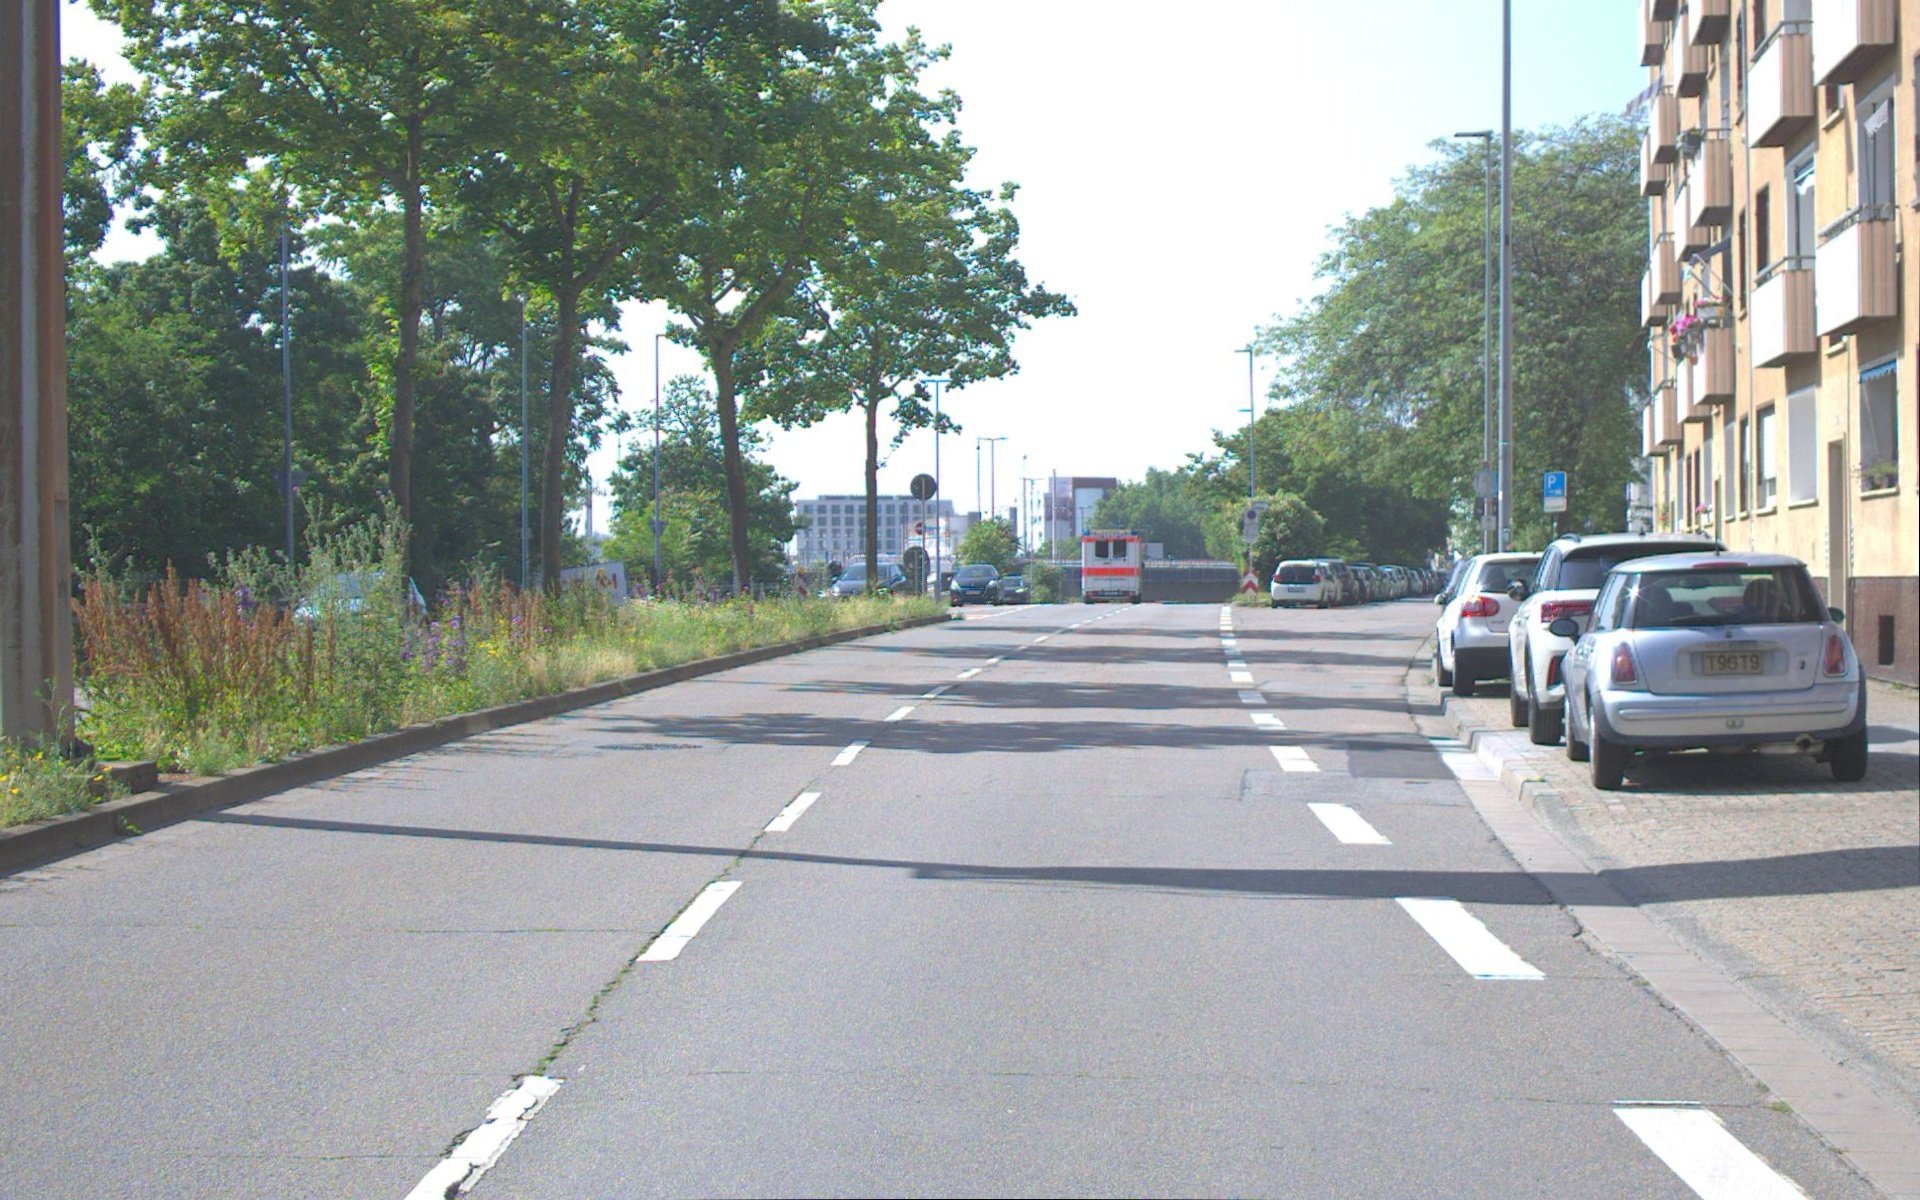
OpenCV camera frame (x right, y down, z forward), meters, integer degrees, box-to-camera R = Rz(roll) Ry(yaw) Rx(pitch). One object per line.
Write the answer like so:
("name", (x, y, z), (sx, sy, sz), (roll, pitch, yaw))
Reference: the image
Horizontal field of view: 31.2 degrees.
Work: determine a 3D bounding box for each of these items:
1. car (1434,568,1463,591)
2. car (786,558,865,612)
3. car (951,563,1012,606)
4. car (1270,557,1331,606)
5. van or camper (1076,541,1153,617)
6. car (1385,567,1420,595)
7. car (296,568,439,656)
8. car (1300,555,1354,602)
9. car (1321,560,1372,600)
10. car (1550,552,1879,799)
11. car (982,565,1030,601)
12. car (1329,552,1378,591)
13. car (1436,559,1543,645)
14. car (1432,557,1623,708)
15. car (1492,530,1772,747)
("car", (36.040, -1.514, 253.602), (1.994, 1.651, 3.998), (0, 0, 9))
("car", (-3.884, -0.451, 99.651), (1.798, 1.525, 3.999), (0, 0, 5))
("car", (0.783, -0.557, 121.822), (1.764, 1.469, 4.084), (-1, 0, 6))
("car", (10.720, -0.602, 108.120), (1.620, 1.500, 3.460), (-1, 0, 10))
("van or camper", (5.805, -0.774, 128.630), (2.297, 2.780, 5.569), (0, 0, 9))
("car", (24.698, -1.080, 191.752), (1.664, 1.504, 4.006), (2, 1, 10))
("car", (-10.492, 0.181, 61.104), (1.645, 1.411, 3.970), (-3, 1, 2))
("car", (12.612, -0.744, 118.074), (1.772, 1.574, 4.185), (-1, 0, 7))
("car", (15.035, -0.789, 133.557), (1.664, 1.468, 3.788), (2, 1, 10))
("car", (4.779, 0.430, 22.169), (1.678, 1.404, 3.430), (-2, 1, 7))
("car", (2.208, -0.825, 165.285), (1.994, 1.728, 4.729), (0, 1, 5))
("car", (15.957, -1.162, 139.314), (1.664, 1.506, 3.788), (2, 1, 10))
("car", (9.451, 0.009, 61.548), (1.711, 1.457, 4.255), (-1, 1, 7))
("car", (6.097, 0.306, 37.265), (1.757, 1.500, 4.127), (-1, 1, 6))
("car", (5.179, 0.258, 26.967), (1.736, 1.536, 4.353), (-1, 1, 6))
